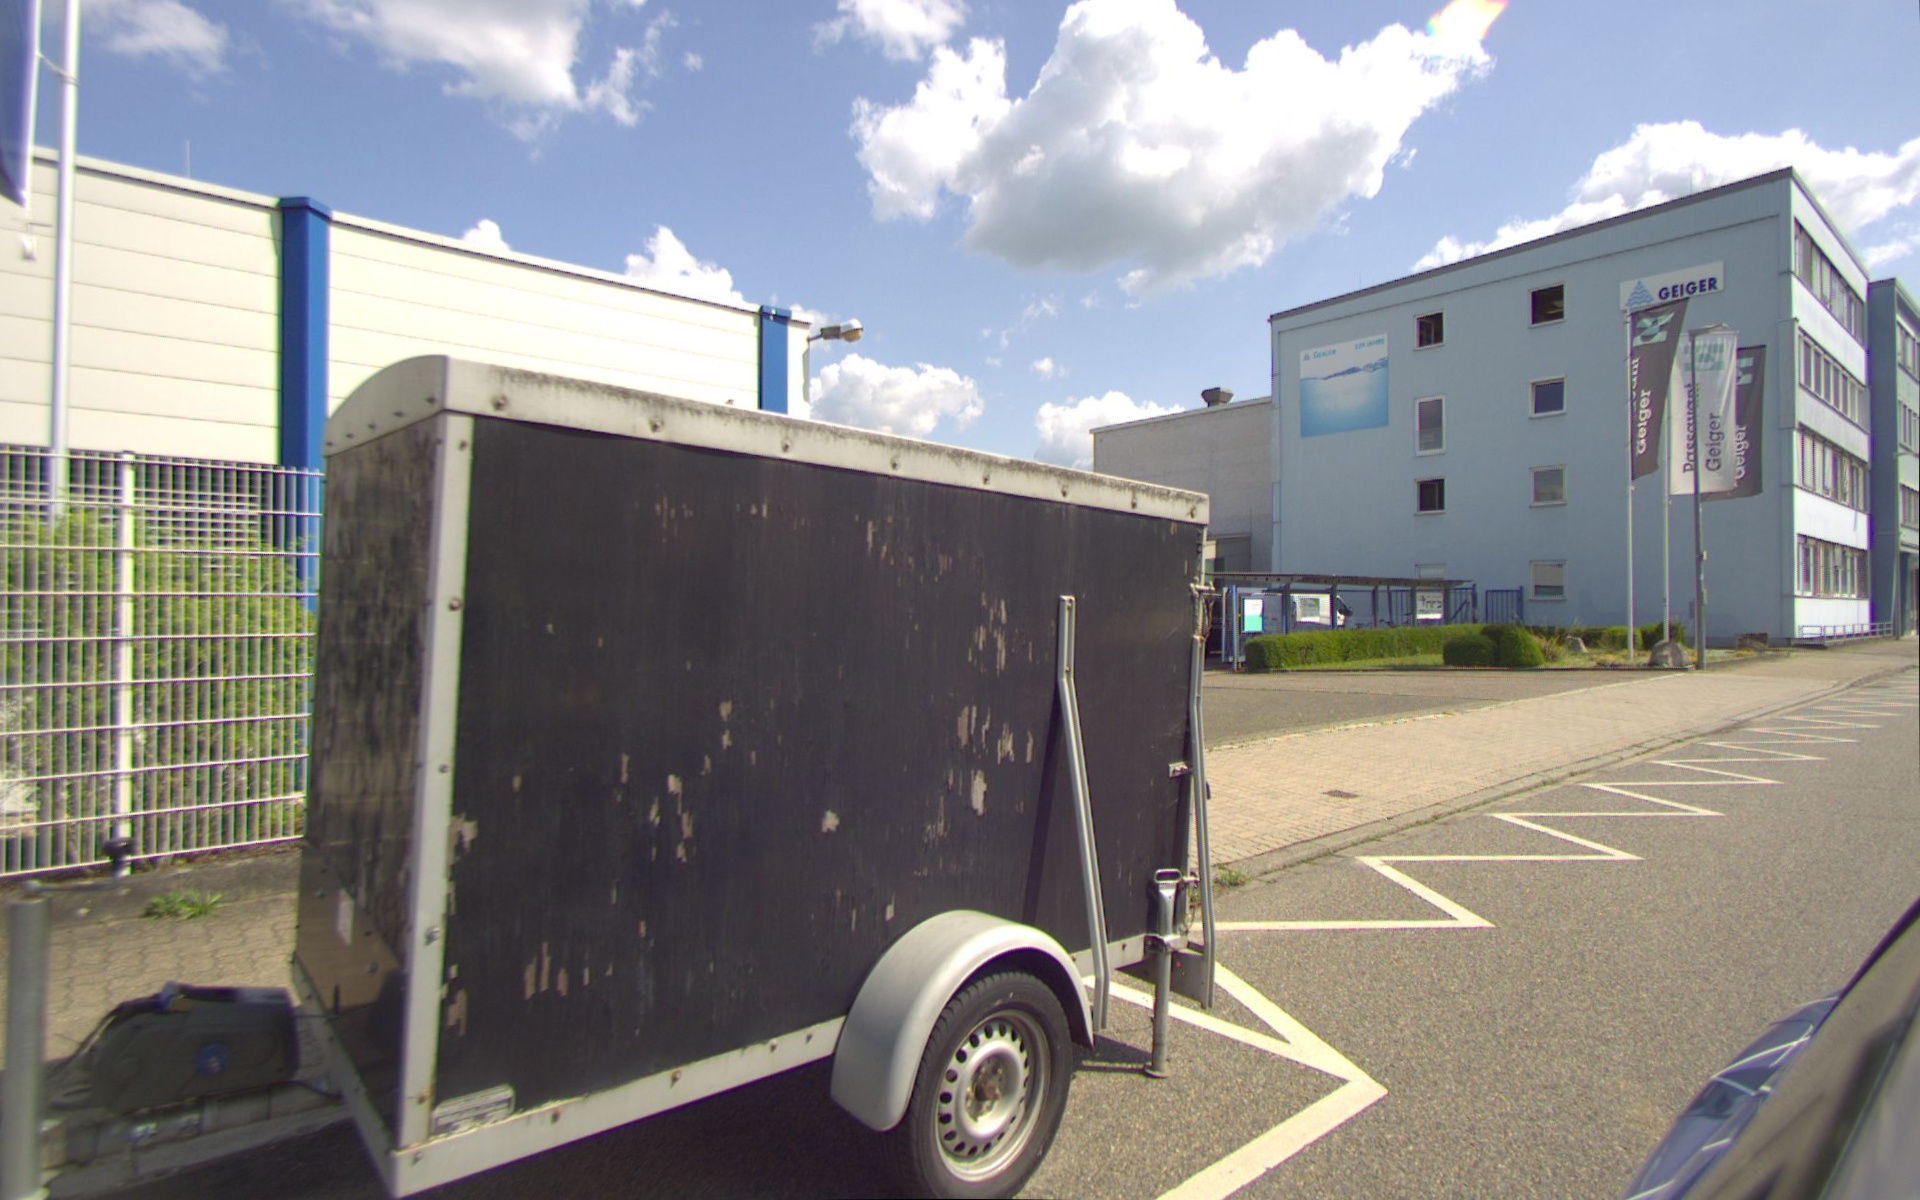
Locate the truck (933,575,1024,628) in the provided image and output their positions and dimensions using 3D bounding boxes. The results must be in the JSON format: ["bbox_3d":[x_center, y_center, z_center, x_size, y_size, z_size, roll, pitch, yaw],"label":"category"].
[{"bbox_3d":[0.892,0.067,47.835,3.929,2.394,1.997,0,-1,-40],"label":"truck"}]

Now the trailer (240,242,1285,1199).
[{"bbox_3d":[-0.468,0.471,3.091,2.693,2.063,1.604,0,-1,-41],"label":"trailer"}]

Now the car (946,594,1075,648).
[{"bbox_3d":[1.867,0.729,36.434,4.630,1.827,1.995,0,-1,-43],"label":"car"}]

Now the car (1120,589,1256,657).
[{"bbox_3d":[6.833,0.661,30.201,4.071,1.894,1.996,0,-1,-43],"label":"car"}]

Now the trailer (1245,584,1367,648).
[{"bbox_3d":[11.804,0.505,34.290,5.190,2.010,1.687,0,0,-43],"label":"trailer"}]
